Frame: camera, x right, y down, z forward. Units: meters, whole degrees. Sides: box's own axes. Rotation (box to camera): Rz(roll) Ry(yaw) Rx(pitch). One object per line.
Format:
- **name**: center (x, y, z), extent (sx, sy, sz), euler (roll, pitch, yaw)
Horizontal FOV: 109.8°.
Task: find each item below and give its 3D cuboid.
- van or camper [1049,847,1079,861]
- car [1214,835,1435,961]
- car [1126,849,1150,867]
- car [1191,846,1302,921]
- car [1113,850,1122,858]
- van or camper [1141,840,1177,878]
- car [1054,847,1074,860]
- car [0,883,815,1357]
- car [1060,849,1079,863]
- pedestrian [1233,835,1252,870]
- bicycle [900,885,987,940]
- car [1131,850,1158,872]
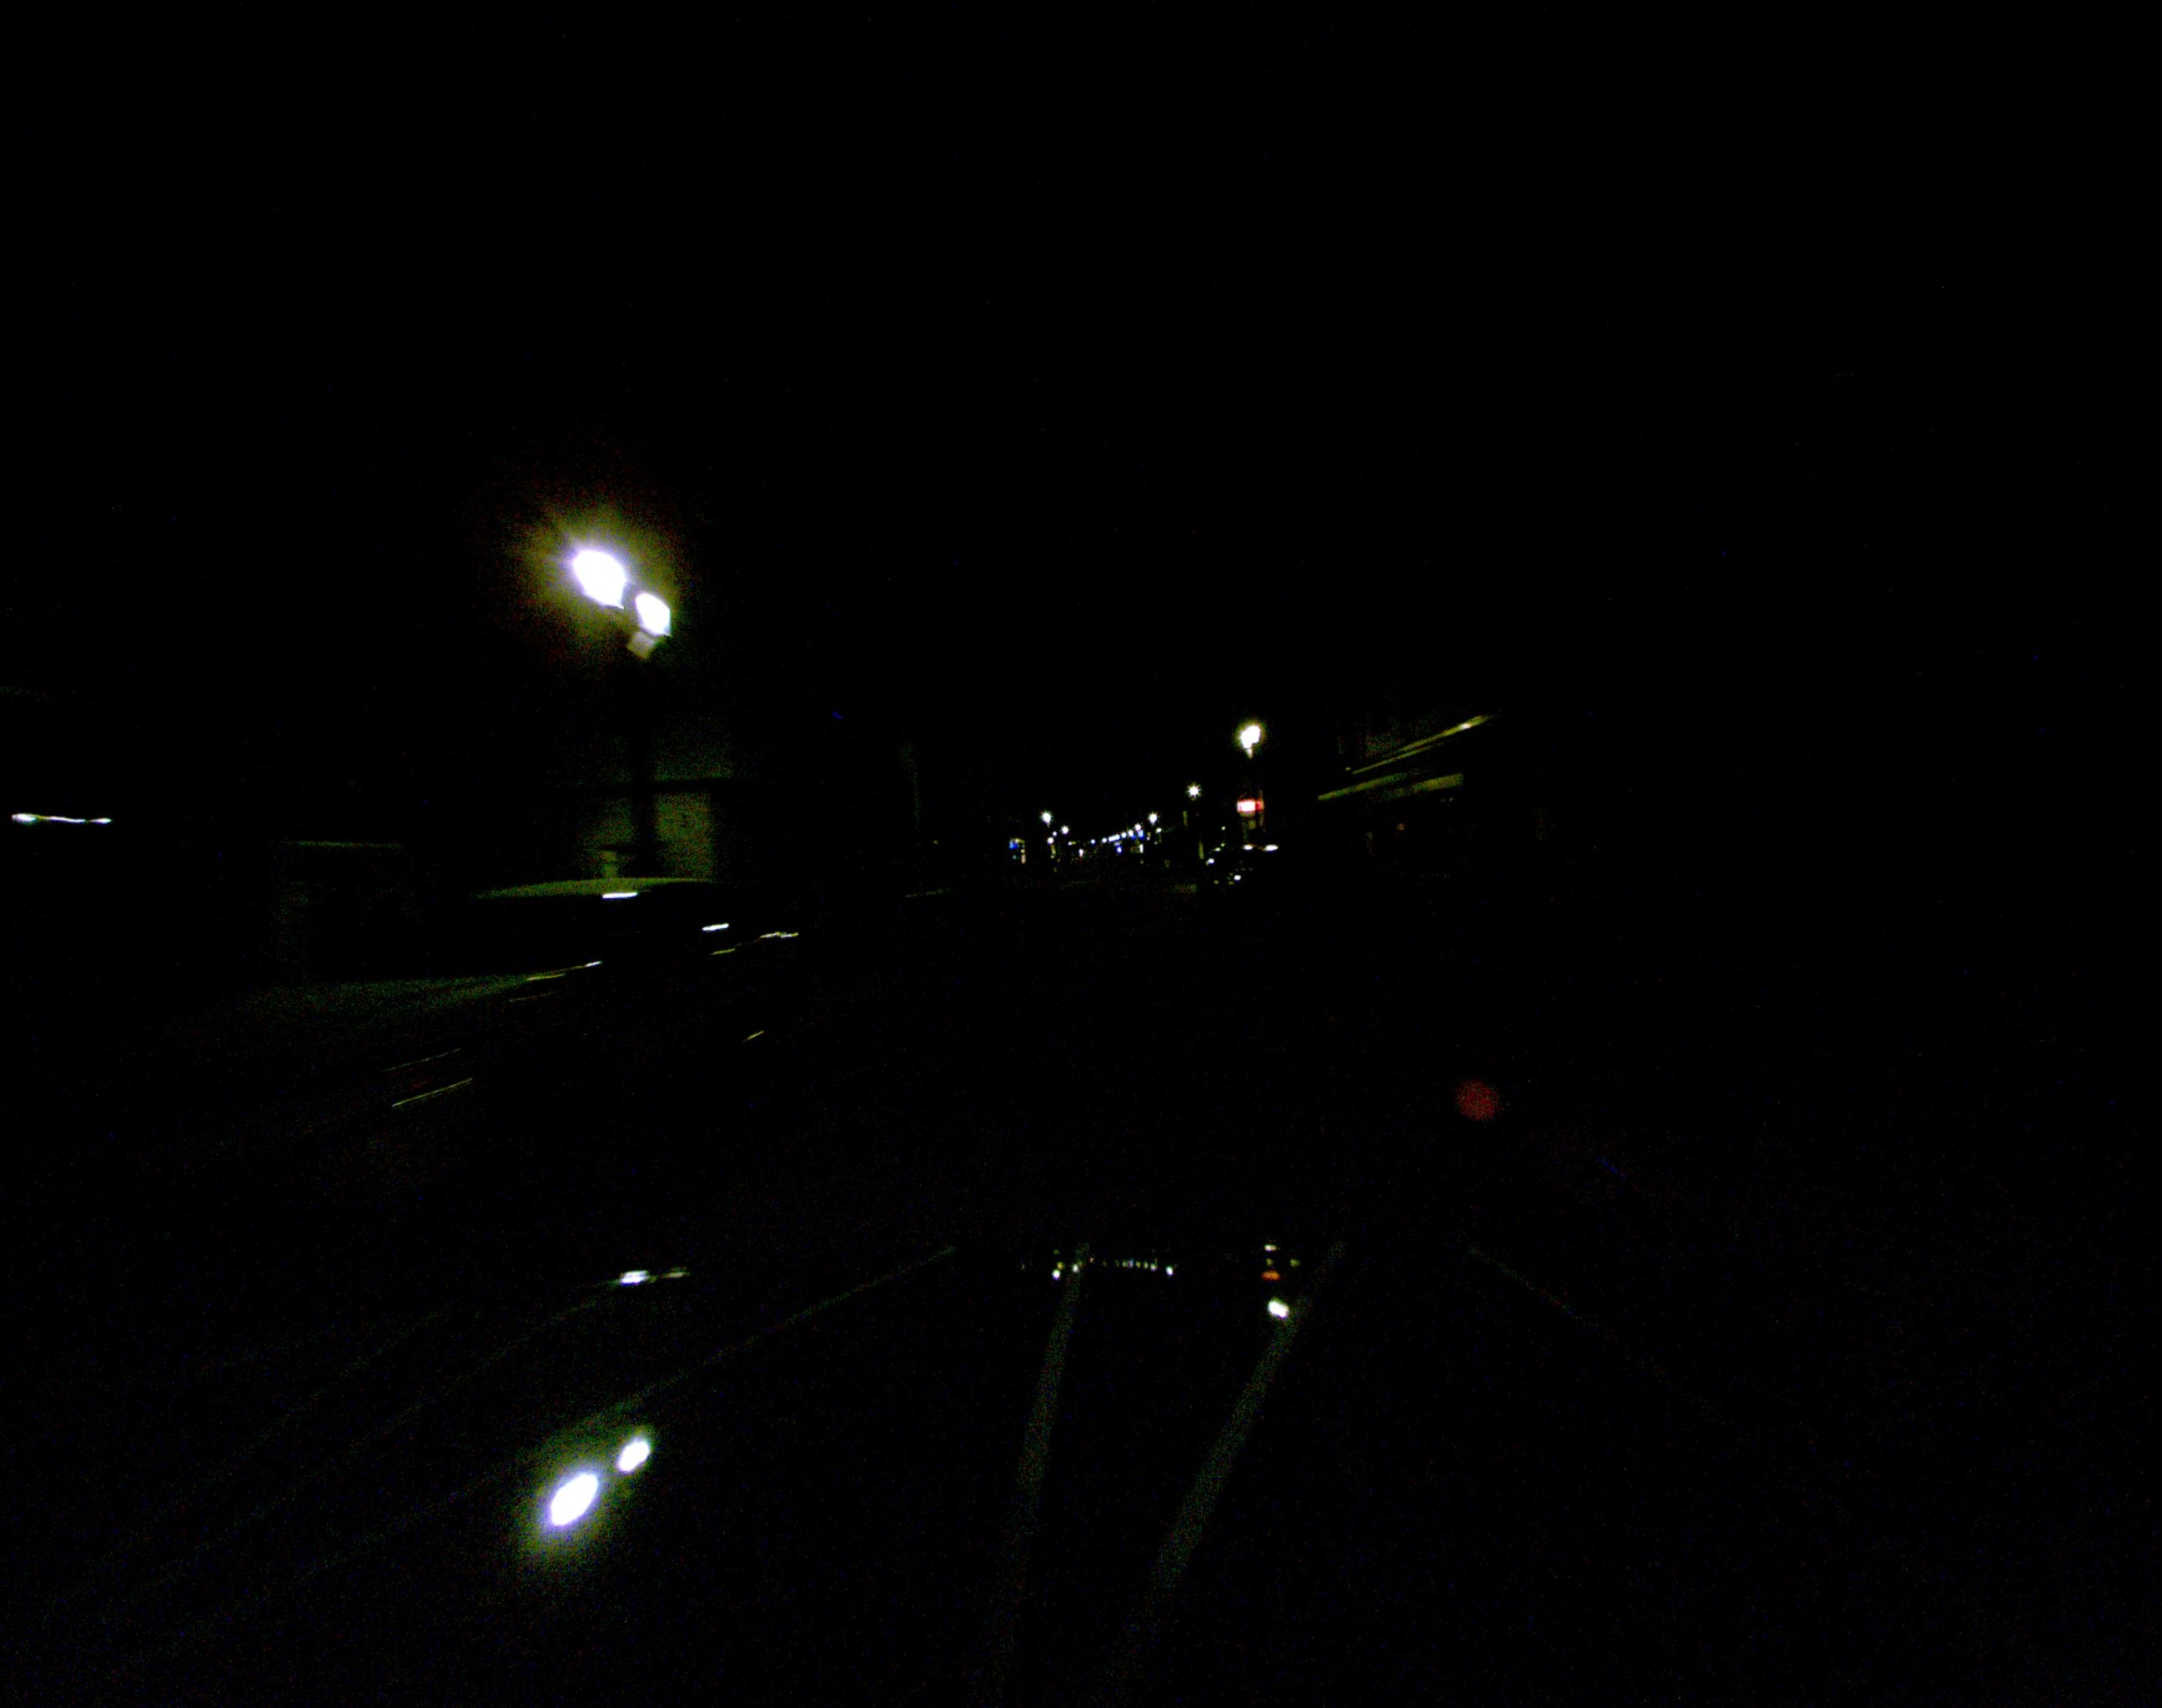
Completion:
- **van or camper**: center (-3.683, -0.046, 166.511), extent (6.059, 2.518, 2.158), euler (-4, 1, -30)
- **car**: center (3.756, 0.593, 12.839), extent (2.024, 1.479, 5.007), euler (-7, 0, 1)
- **car**: center (5.327, 0.341, 71.002), extent (1.802, 1.469, 4.321), euler (-6, 1, 1)
- **car**: center (3.830, 0.634, 18.217), extent (1.733, 1.468, 3.846), euler (-5, 0, 0)
- **car**: center (7.545, 0.072, 157.755), extent (1.655, 1.417, 4.014), euler (-7, 0, 0)
- **van or camper**: center (4.618, 0.233, 44.724), extent (1.849, 1.930, 5.155), euler (-5, 0, 7)
- **car**: center (-1.832, -0.083, 82.758), extent (1.664, 1.369, 4.104), euler (-2, 1, 5)
- **car**: center (-3.383, 1.053, 4.761), extent (1.793, 1.483, 4.059), euler (-3, 0, 2)
- **car**: center (-1.282, 0.167, 87.645), extent (1.757, 1.455, 4.467), euler (-2, 1, 5)
- **pedestrian**: center (8.367, -0.079, 39.389), extent (0.622, 1.735, 1.022), euler (-5, 1, 2)
- **bicycle**: center (-2.984, 1.278, 16.552), extent (1.759, 1.056, 0.346), euler (-4, 1, -1)
- **car**: center (4.693, 0.496, 56.593), extent (1.721, 1.404, 4.385), euler (-6, 0, 2)
